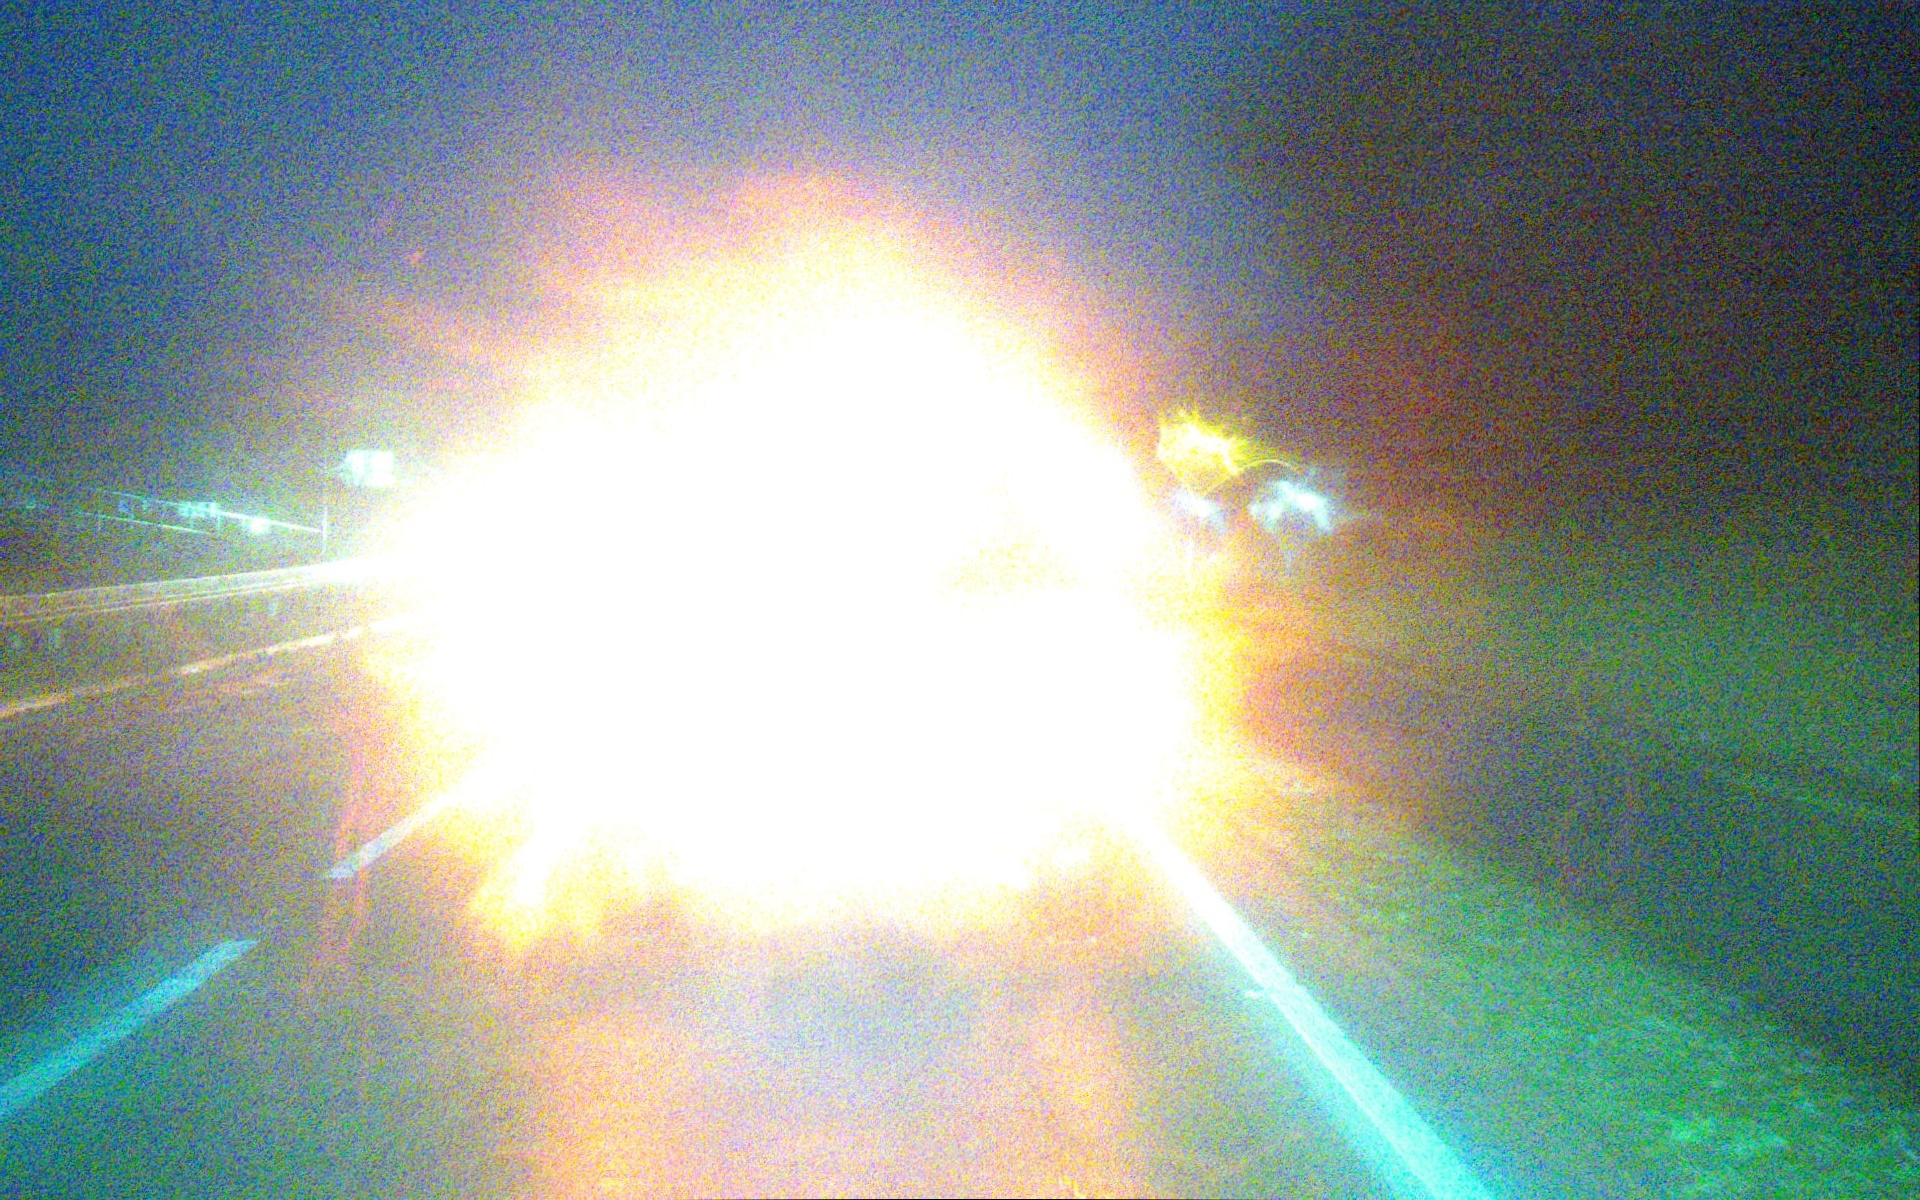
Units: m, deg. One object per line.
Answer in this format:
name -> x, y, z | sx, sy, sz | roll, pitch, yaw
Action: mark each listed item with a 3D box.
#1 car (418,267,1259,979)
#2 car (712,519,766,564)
car -> -0.472, -0.004, 14.182 | 2.715, 2.299, 6.101 | 0, 2, -2
car -> -7.582, -2.015, 117.973 | 1.543, 1.505, 3.880 | 1, 1, 1
